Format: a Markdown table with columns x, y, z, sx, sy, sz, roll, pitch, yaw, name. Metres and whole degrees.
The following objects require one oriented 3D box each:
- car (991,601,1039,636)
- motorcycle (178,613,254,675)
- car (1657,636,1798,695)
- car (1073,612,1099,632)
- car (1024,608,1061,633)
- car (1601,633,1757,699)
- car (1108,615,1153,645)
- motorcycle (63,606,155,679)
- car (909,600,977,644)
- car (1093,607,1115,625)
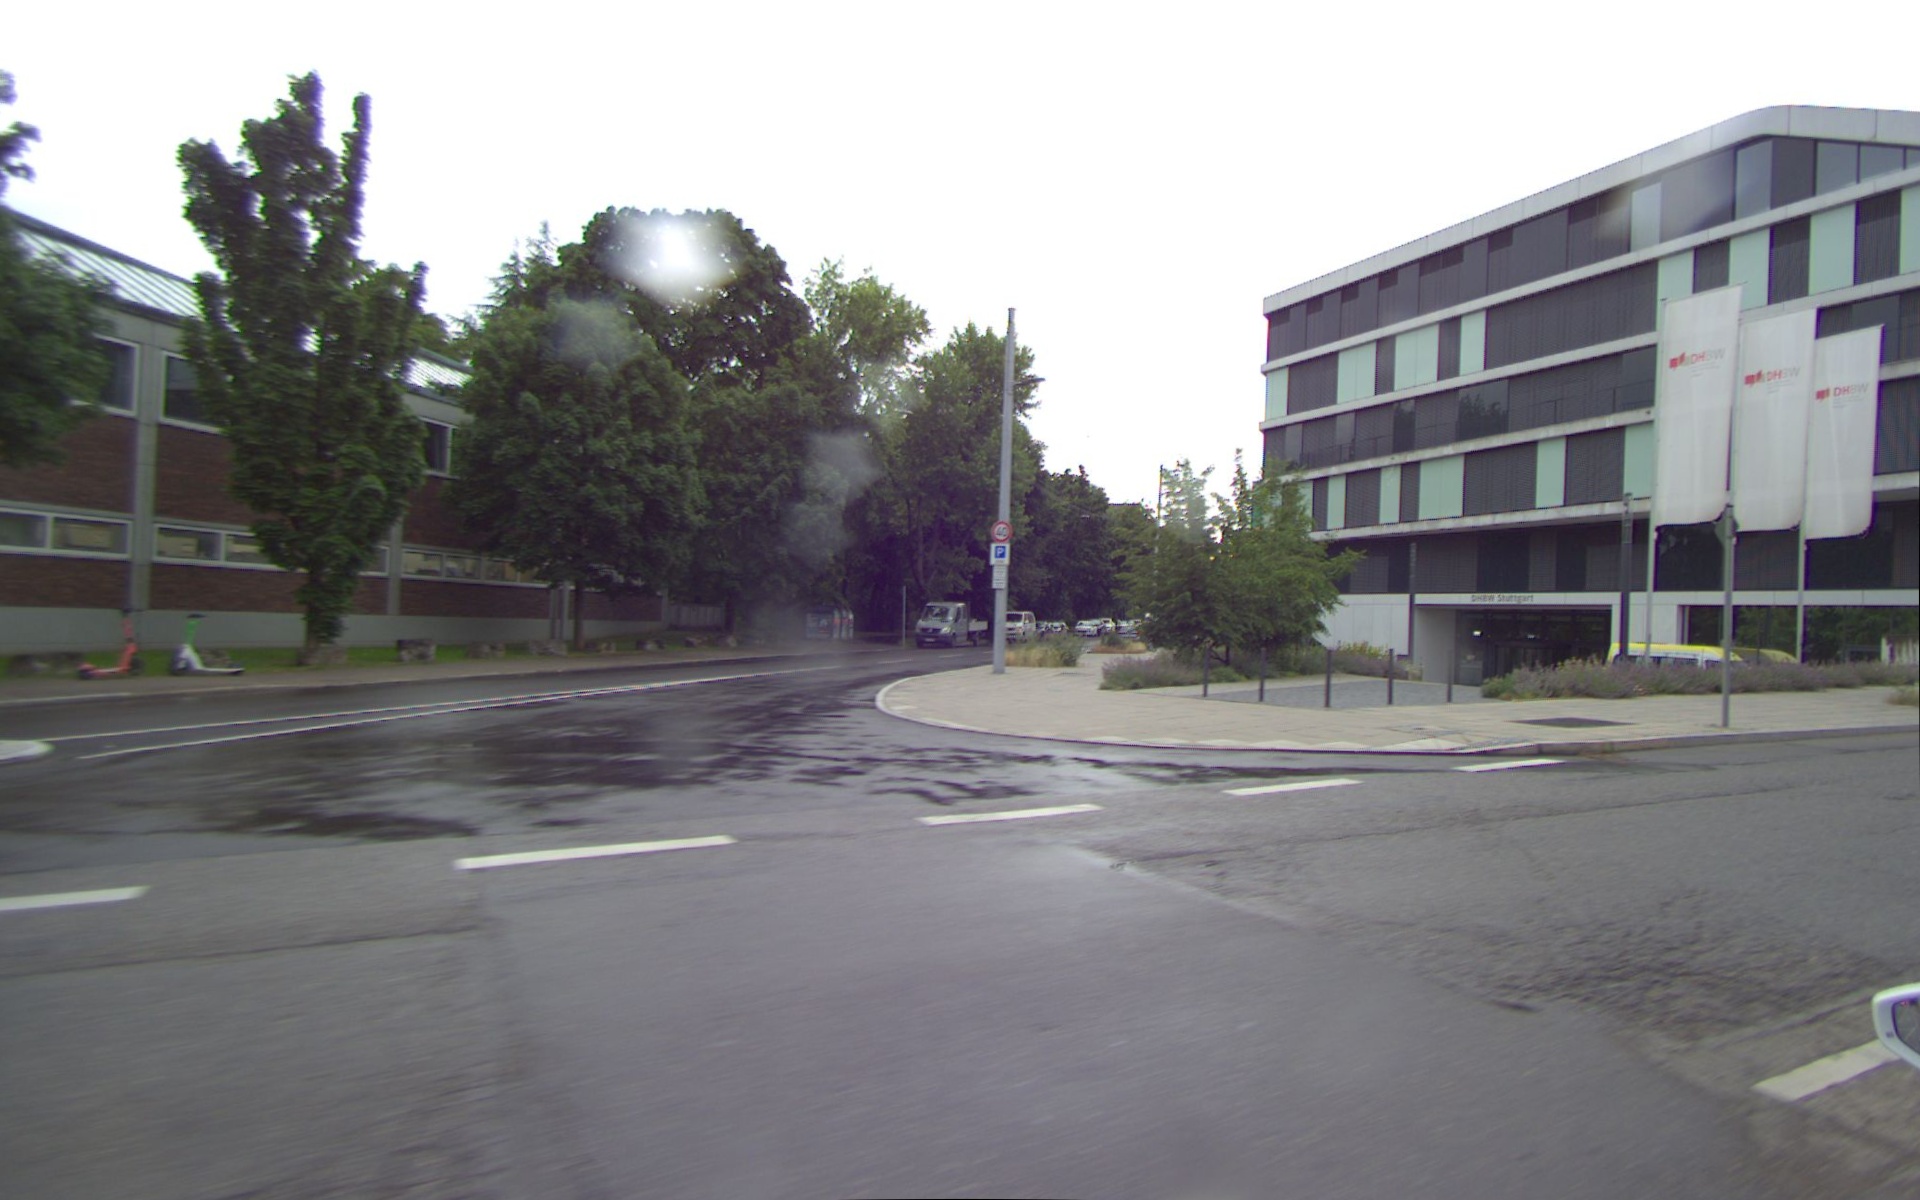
| x | y | z | sx | sy | sz | roll | pitch | yaw | name |
| --- | --- | --- | --- | --- | --- | --- | --- | --- | --- |
| 3.610 | 1.152 | 64.837 | 2.126 | 2.125 | 4.840 | 2 | 0 | 15 | car |
| -14.259 | 0.840 | 19.286 | 0.404 | 1.140 | 1.171 | 2 | -1 | 11 | motorcycle |
| 31.519 | 2.638 | 41.384 | 1.577 | 2.059 | 4.326 | 1 | 1 | -26 | car |
| 11.206 | 1.956 | 89.068 | 1.712 | 1.628 | 3.868 | 2 | 0 | 15 | car |
| 5.875 | 1.427 | 71.176 | 1.891 | 1.628 | 4.281 | 2 | 0 | 15 | car |
| 28.077 | 2.502 | 39.398 | 1.910 | 2.203 | 4.564 | 1 | 1 | -32 | car |
| 9.482 | 1.620 | 55.546 | 1.636 | 1.469 | 3.867 | 2 | 1 | 22 | car |
| -14.731 | 0.717 | 17.418 | 0.404 | 1.201 | 1.228 | 2 | 1 | 11 | motorcycle |
| -0.829 | 1.091 | 51.690 | 2.036 | 2.070 | 4.279 | 2 | 1 | 20 | car |
| 14.350 | 1.575 | 99.824 | 1.712 | 1.628 | 3.899 | 2 | 0 | 15 | car |
